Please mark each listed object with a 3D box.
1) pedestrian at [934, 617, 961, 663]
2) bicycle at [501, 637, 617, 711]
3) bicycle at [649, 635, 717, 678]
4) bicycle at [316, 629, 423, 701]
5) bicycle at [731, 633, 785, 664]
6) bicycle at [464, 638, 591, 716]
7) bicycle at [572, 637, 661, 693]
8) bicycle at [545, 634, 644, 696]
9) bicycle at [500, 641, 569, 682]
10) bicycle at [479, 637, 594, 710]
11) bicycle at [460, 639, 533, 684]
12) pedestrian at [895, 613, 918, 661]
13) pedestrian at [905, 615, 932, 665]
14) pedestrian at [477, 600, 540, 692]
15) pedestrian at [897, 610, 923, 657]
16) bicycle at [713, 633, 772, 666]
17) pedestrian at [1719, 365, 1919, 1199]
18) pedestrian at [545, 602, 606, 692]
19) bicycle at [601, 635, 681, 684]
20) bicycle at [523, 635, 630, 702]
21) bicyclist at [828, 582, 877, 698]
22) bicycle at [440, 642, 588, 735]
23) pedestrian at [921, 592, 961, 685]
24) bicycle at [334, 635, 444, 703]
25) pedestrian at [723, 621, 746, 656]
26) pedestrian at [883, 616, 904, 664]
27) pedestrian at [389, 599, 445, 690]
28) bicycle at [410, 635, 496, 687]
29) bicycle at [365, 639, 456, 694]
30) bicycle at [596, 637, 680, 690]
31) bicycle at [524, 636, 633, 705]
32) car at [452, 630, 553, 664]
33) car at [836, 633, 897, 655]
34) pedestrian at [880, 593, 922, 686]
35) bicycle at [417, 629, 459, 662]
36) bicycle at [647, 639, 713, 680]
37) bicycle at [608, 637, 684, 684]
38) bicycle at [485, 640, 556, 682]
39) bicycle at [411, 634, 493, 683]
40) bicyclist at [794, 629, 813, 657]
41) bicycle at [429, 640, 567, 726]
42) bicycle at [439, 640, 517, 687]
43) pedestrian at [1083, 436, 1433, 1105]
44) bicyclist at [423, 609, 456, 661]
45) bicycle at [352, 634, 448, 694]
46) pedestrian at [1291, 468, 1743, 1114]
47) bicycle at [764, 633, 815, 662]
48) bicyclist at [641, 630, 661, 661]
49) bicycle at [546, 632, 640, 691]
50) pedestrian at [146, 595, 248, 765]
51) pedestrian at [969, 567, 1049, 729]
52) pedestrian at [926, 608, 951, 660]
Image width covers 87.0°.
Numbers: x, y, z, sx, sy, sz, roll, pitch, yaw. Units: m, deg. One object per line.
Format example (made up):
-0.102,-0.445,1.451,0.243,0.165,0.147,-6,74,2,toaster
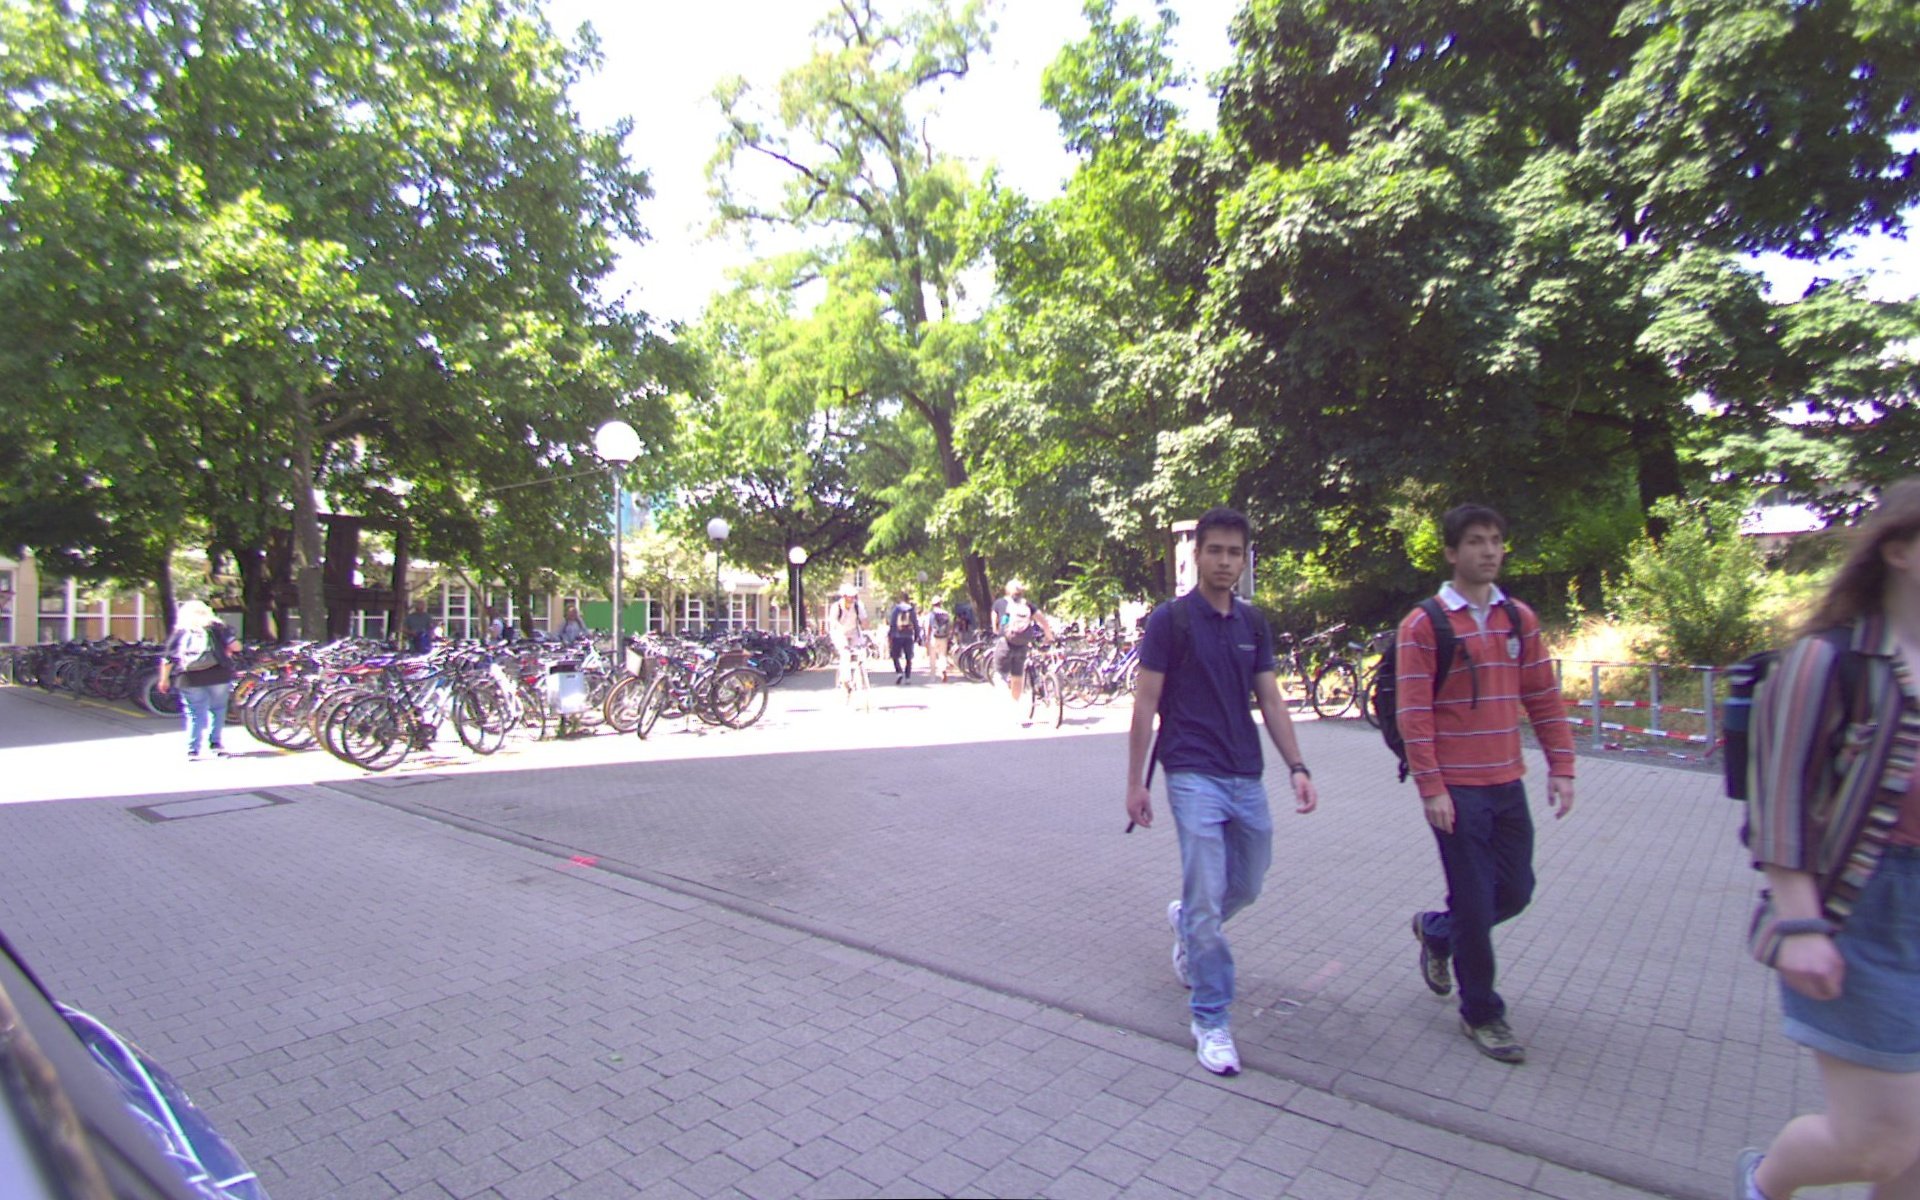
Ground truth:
-0.474,1.566,40.048,0.765,1.788,0.900,-1,-2,23,pedestrian
-6.279,1.138,15.908,1.670,1.092,0.475,0,-1,-18,bicycle
-7.277,1.491,26.611,1.677,1.092,0.474,-1,-1,3,bicycle
-10.856,1.172,18.660,0.501,1.229,1.683,-1,-1,29,bicycle
-7.182,1.716,35.951,1.834,1.092,0.474,-1,-1,3,bicycle
-6.353,1.118,14.933,1.671,1.092,0.475,0,-1,-14,bicycle
-7.015,1.317,20.696,1.674,1.092,0.474,0,-1,-5,bicycle
-6.687,1.178,18.579,1.671,1.092,0.475,0,-1,-14,bicycle
-12.068,1.732,28.699,1.756,1.116,0.502,-1,-1,3,bicycle
-6.775,1.164,16.268,1.670,1.092,0.475,0,-1,-18,bicycle
-12.143,1.604,26.538,1.672,1.116,0.504,0,-1,-9,bicycle
-2.007,1.380,38.032,0.607,1.788,0.652,-2,-2,32,pedestrian
-1.410,1.367,34.629,0.761,1.692,0.905,-1,-1,7,pedestrian
-8.720,0.868,19.546,0.894,1.716,0.770,1,-2,-44,pedestrian
-1.810,1.207,36.689,0.761,1.692,0.905,-1,-1,7,pedestrian
-7.218,1.639,33.620,1.834,1.092,0.474,-1,-1,3,bicycle
1.829,0.501,1.744,0.729,1.737,0.679,-2,-1,32,pedestrian
-7.585,0.921,19.994,0.896,1.716,0.769,-1,-1,5,pedestrian
-7.292,1.361,23.154,1.677,1.092,0.474,-1,-1,3,bicycle
-6.571,1.159,17.402,1.671,1.092,0.475,0,-1,-14,bicycle
-1.513,0.548,14.173,0.586,1.580,0.723,0,-1,-14,bicyclist
-5.711,1.104,13.004,1.672,1.092,0.475,0,-1,-37,bicycle
-0.394,0.764,20.403,0.759,1.817,0.984,-1,-1,-2,pedestrian
-10.090,1.199,17.947,0.501,1.116,1.683,-1,-1,29,bicycle
-10.927,1.863,49.013,0.727,1.697,0.863,-3,-3,37,pedestrian
-2.528,1.507,38.330,0.501,1.785,0.664,-2,-2,31,pedestrian
-11.122,0.909,20.752,0.701,1.820,0.768,-1,-1,8,pedestrian
-11.502,1.379,22.994,1.671,1.116,0.504,0,-1,-13,bicycle
-11.885,1.430,21.931,1.671,1.116,0.504,0,-1,-13,bicycle
-6.957,1.365,21.934,1.674,1.092,0.474,0,-1,-5,bicycle
-6.366,1.164,16.959,1.671,1.092,0.475,0,-1,-14,bicycle
-23.728,2.404,52.629,1.836,1.630,4.480,0,-1,38,car
-6.681,3.181,72.980,1.836,1.553,4.480,-3,-3,38,car
-1.183,0.784,20.412,0.823,1.829,0.883,-1,-1,-2,pedestrian
-19.771,1.705,38.367,0.793,1.181,1.889,-1,-1,-7,bicycle
-7.663,1.622,27.735,1.677,1.092,0.474,-1,-1,3,bicycle
-7.547,1.460,24.347,1.677,1.092,0.474,-1,-1,3,bicycle
-12.125,1.678,27.924,1.756,1.116,0.502,-1,-1,3,bicycle
-12.112,1.385,24.172,1.672,1.116,0.504,0,-1,-9,bicycle
-9.223,2.539,59.628,0.639,1.585,0.864,0,-2,37,bicyclist
-6.337,1.111,13.924,1.672,1.092,0.475,0,-1,-36,bicycle
-12.041,1.569,25.322,1.672,1.116,0.633,0,-1,-9,bicycle
0.918,0.482,3.360,0.674,1.849,0.944,0,-3,-15,pedestrian
-19.832,1.330,38.565,0.793,1.906,0.869,-3,-1,-6,bicyclist
-11.775,1.336,21.320,1.671,1.209,0.577,0,-1,-13,bicycle
1.744,0.529,3.352,0.707,1.737,1.068,0,-3,-17,pedestrian
-6.485,1.809,38.500,1.834,1.092,0.474,-1,-1,3,bicycle
-15.930,2.343,52.178,0.605,1.546,0.717,0,-2,42,bicyclist
-7.092,1.181,19.621,1.671,1.092,0.475,0,-1,-14,bicycle
-8.108,0.802,10.750,0.758,1.692,0.908,-1,0,-43,pedestrian
0.567,0.555,12.120,0.603,1.849,1.053,0,-2,-18,pedestrian
-0.748,1.204,35.894,0.761,1.788,0.905,-1,-1,7,pedestrian
